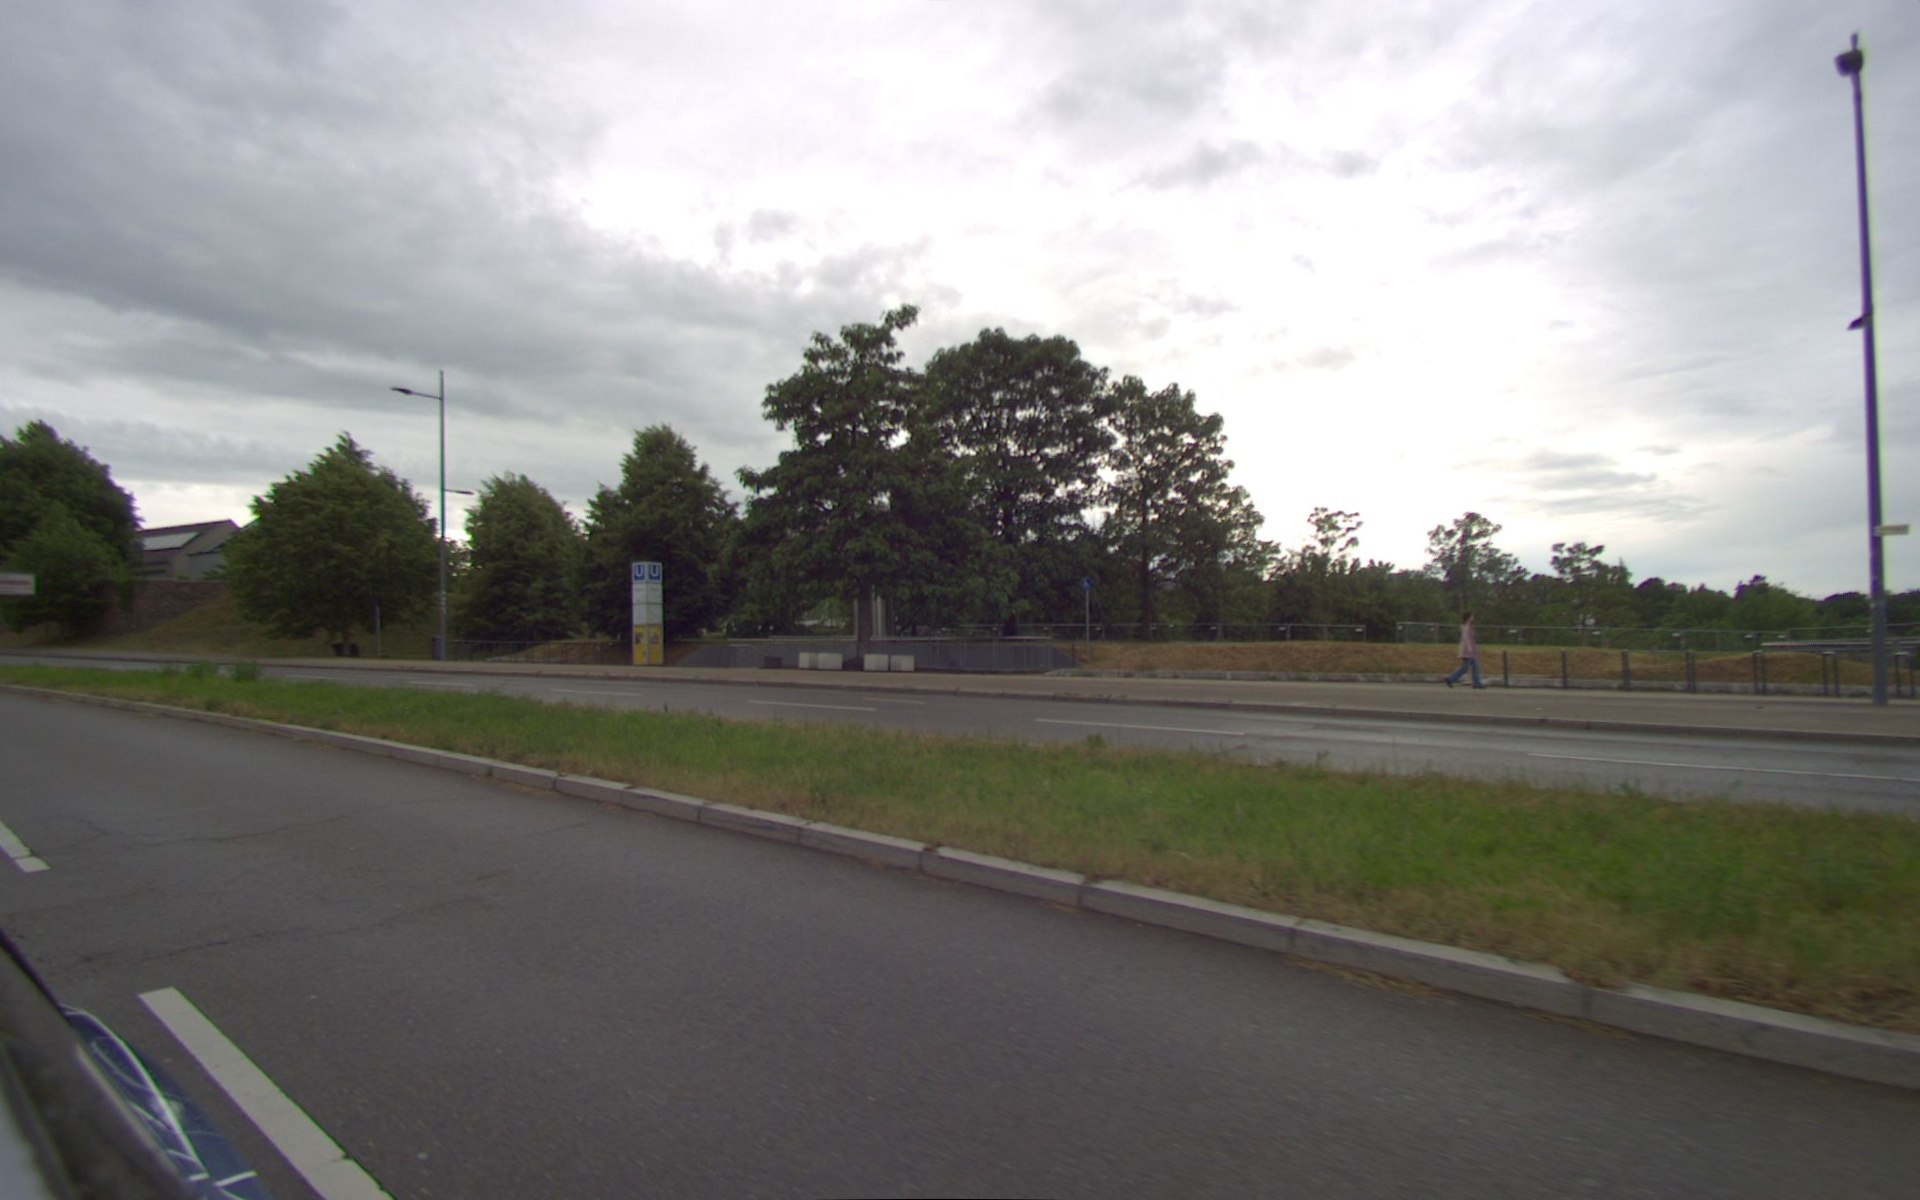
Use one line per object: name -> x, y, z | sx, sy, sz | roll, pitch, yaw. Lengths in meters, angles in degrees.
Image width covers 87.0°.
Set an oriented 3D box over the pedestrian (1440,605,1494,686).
pedestrian -> 10.413, 0.939, 20.774 | 0.811, 1.606, 0.608 | -4, -3, 36
